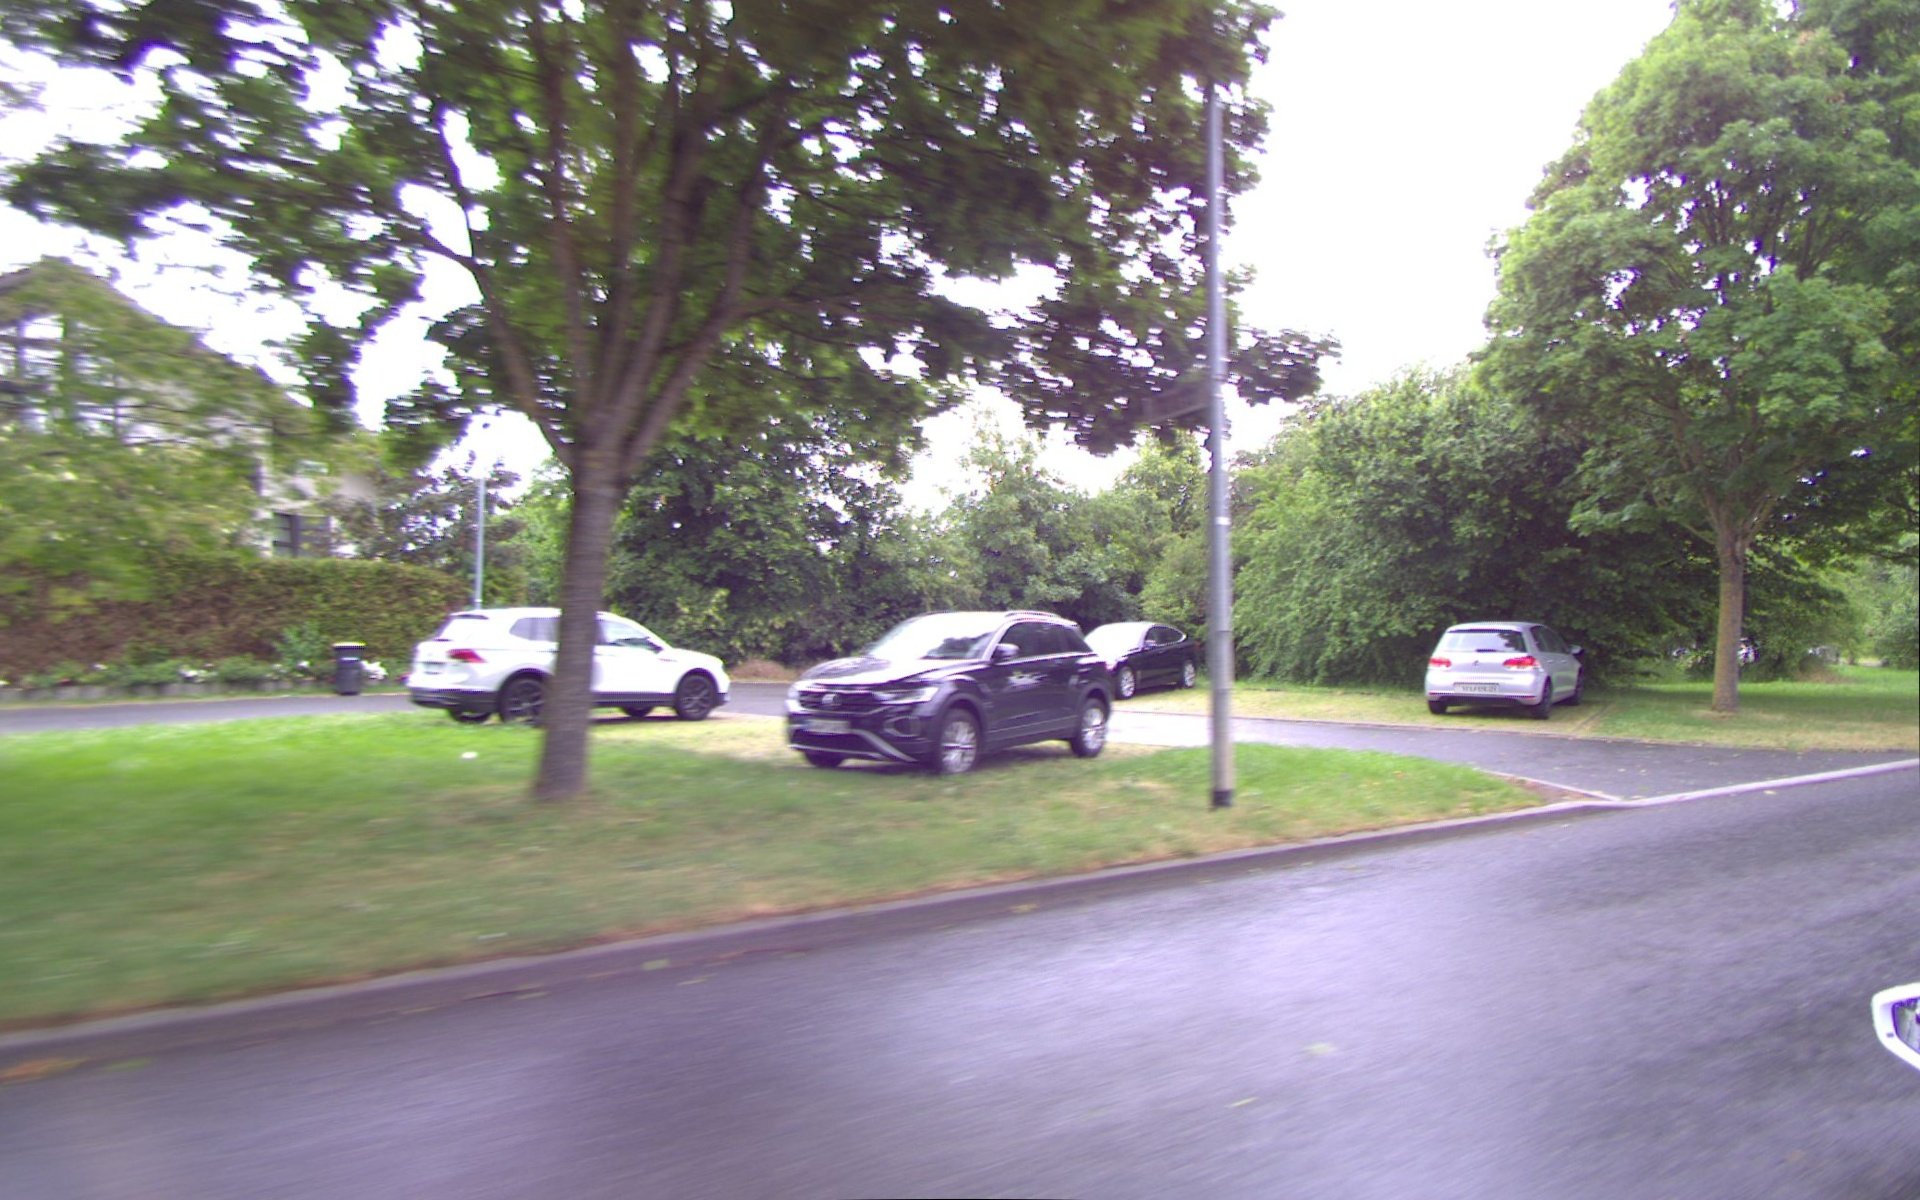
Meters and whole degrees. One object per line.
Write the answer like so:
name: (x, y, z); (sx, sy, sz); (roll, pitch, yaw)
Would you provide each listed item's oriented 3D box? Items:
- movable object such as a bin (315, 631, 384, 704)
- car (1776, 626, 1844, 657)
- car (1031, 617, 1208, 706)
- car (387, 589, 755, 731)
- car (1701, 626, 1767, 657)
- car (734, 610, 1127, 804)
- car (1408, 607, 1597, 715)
movable object such as a bin: (-13.326, 1.442, 21.907); (1.158, 1.487, 1.075); (1, 1, -39)
car: (44.677, 2.189, 52.759); (4.960, 1.557, 1.776); (3, -3, -38)
car: (3.542, 1.228, 21.583); (1.838, 1.529, 4.589); (-2, 0, 36)
car: (-5.639, 0.897, 15.191); (1.881, 1.793, 4.876); (-2, -4, 40)
car: (42.906, 2.291, 55.685); (4.312, 1.601, 1.840); (2, -2, -37)
car: (-0.063, 0.918, 10.262); (1.863, 1.534, 4.236); (-1, -2, 35)
car: (9.229, 0.929, 16.917); (1.860, 1.449, 4.193); (-2, 0, 42)
